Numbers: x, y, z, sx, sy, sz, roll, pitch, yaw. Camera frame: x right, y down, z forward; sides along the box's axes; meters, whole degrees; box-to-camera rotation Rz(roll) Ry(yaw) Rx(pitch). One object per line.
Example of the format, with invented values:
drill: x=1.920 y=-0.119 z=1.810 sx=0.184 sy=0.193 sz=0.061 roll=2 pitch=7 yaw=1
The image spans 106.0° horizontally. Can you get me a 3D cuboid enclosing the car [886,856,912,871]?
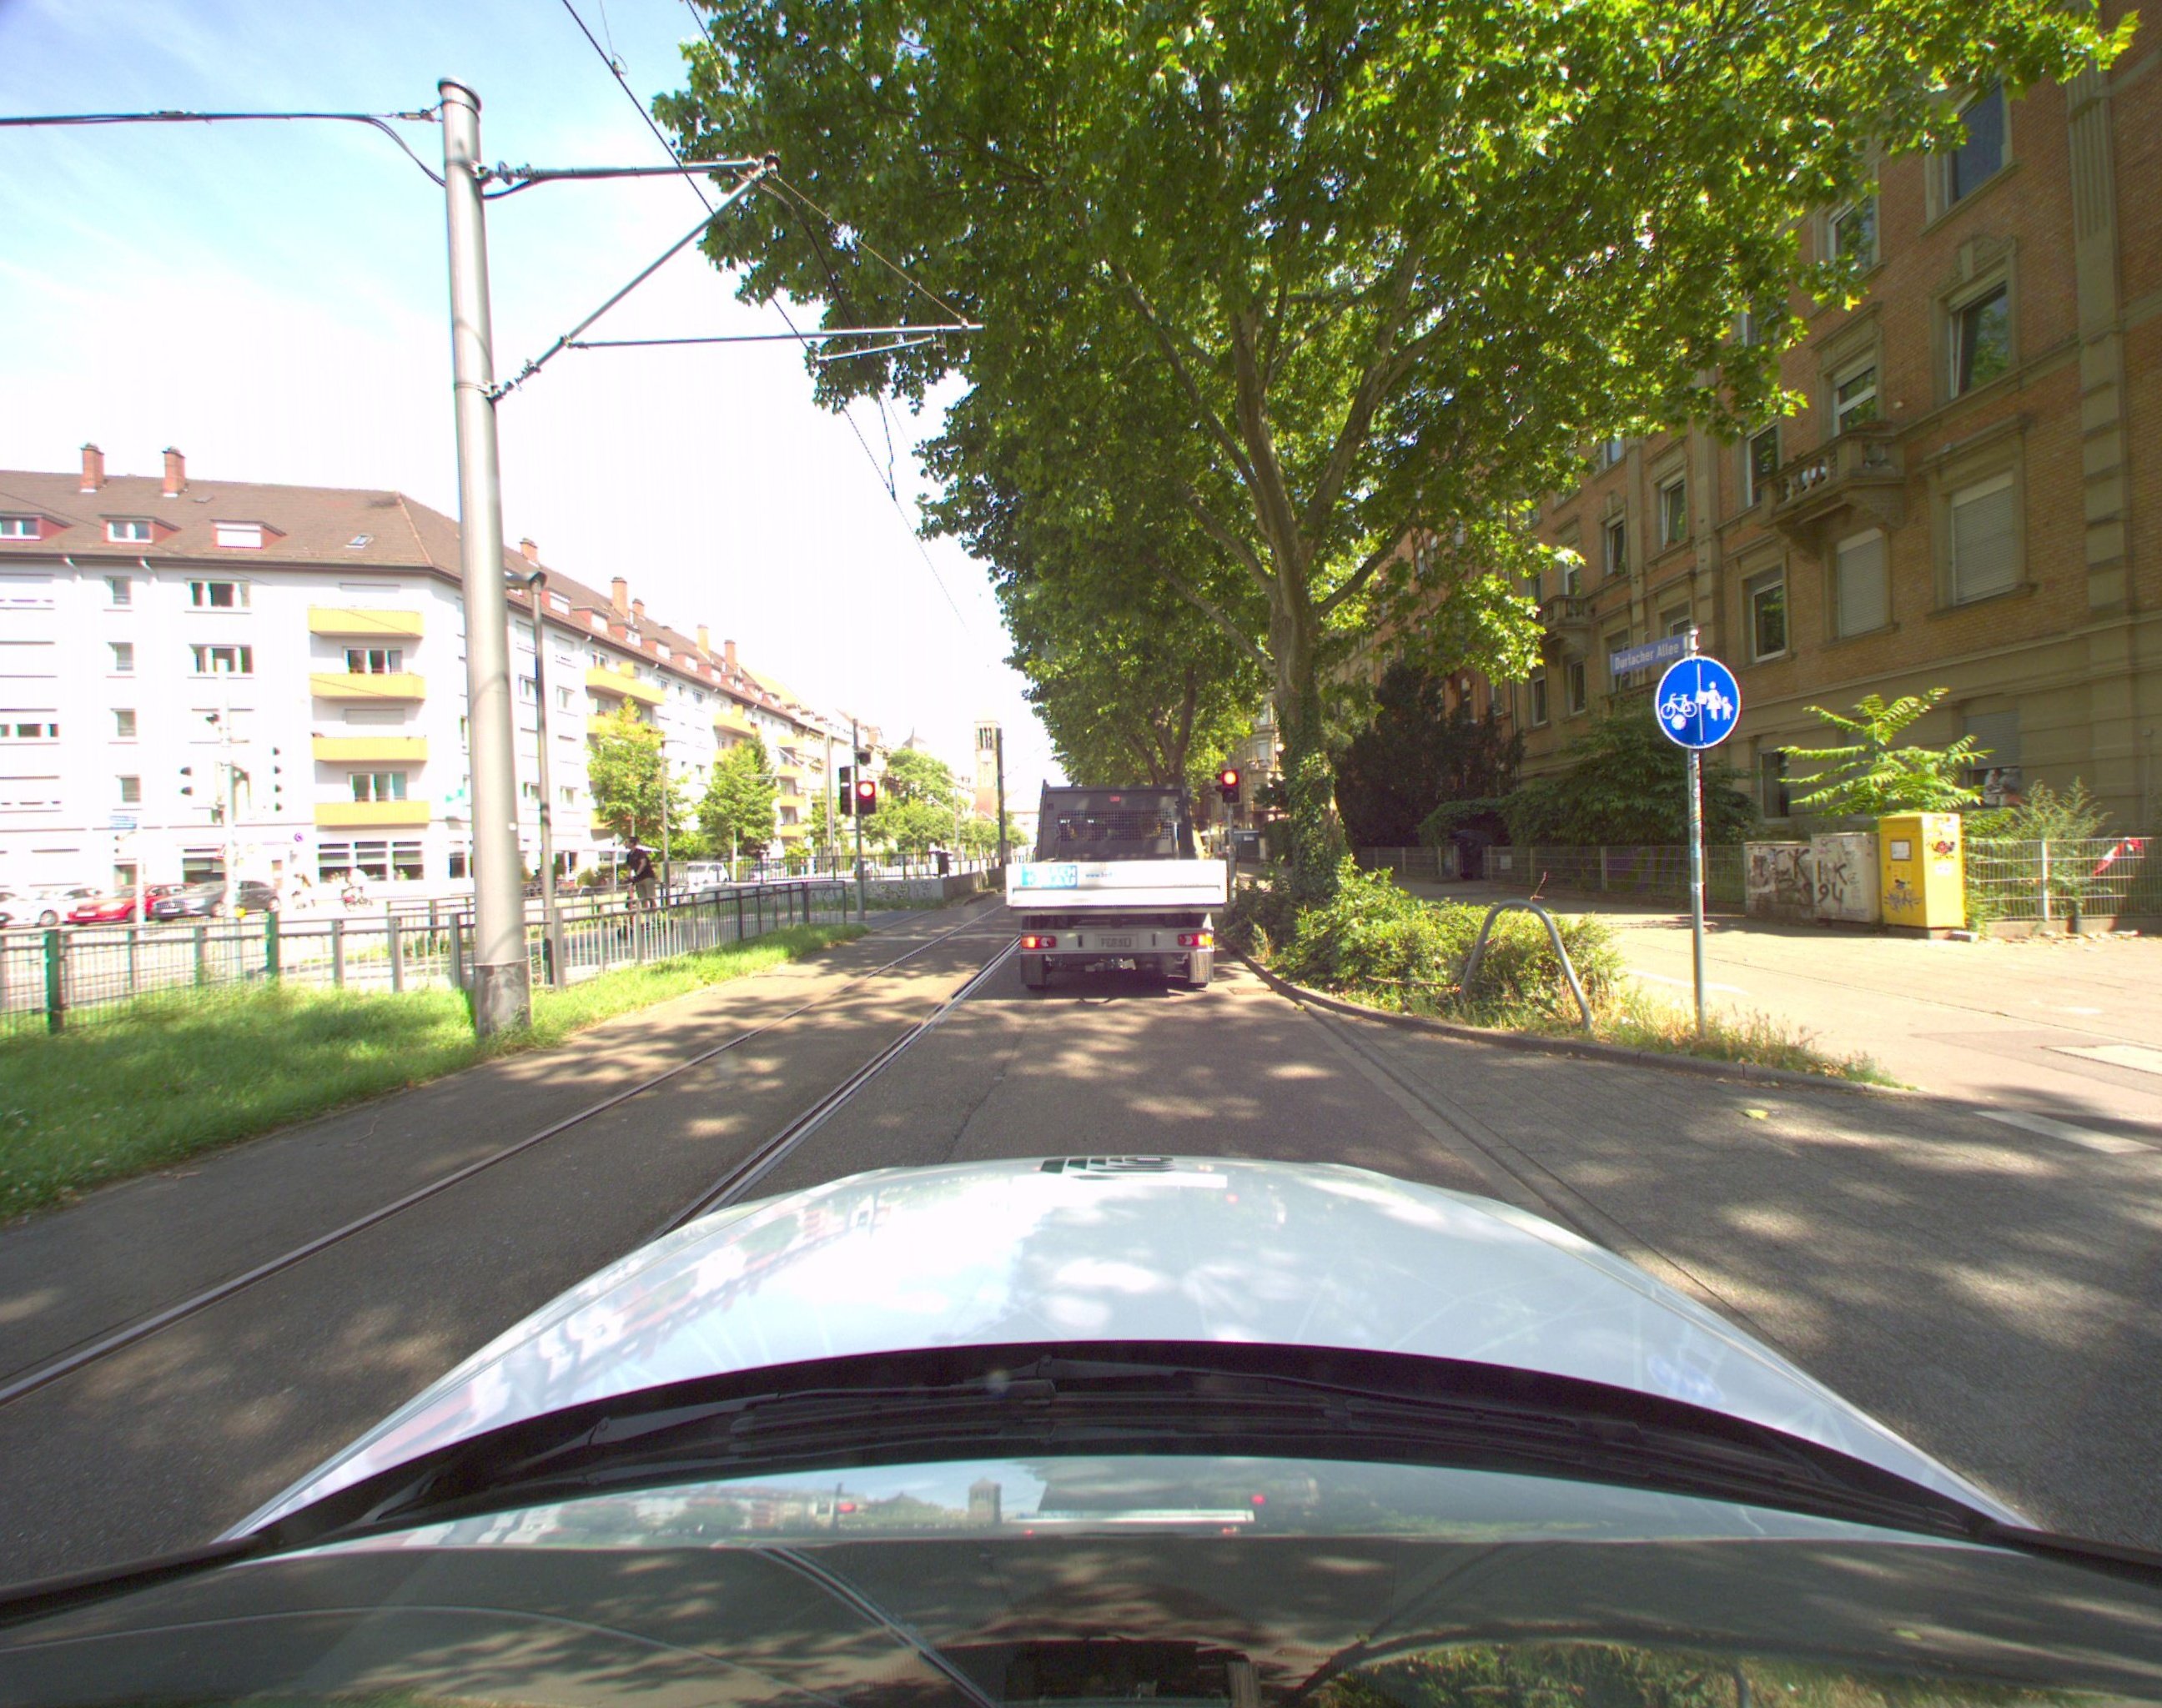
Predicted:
car: x=-19.466 y=0.973 z=87.139 sx=1.764 sy=1.498 sz=4.000 roll=-2 pitch=0 yaw=0

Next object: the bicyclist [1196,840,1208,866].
bicyclist: x=7.345 y=-0.076 z=49.392 sx=0.635 sy=1.573 sz=0.580 roll=-2 pitch=0 yaw=3

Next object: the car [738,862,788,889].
car: x=-20.303 y=1.348 z=52.129 sx=1.767 sy=1.498 sz=3.994 roll=-4 pitch=0 yaw=-4

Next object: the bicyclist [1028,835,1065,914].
bicyclist: x=-0.730 y=0.429 z=17.371 sx=0.690 sy=1.623 sz=0.625 roll=-2 pitch=0 yaw=0

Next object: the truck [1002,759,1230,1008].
truck: x=0.429 y=0.264 z=9.810 sx=2.130 sy=2.319 sz=4.404 roll=0 pitch=0 yaw=3

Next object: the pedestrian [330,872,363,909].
pedestrian: x=-32.266 y=1.609 z=35.795 sx=0.861 sy=1.572 sz=0.685 roll=-2 pitch=0 yaw=-22

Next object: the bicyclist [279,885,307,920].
bicyclist: x=-33.917 y=2.080 z=35.070 sx=0.624 sy=1.423 sz=0.587 roll=-2 pitch=0 yaw=-15

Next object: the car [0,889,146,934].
car: x=-39.279 y=2.179 z=31.360 sx=1.930 sy=1.406 sz=4.158 roll=-2 pitch=0 yaw=-6

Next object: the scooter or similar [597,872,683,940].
scooter or similar: x=-8.577 y=0.982 z=15.862 sx=0.649 sy=1.204 sz=1.279 roll=-2 pitch=0 yaw=38

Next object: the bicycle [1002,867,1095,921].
bicycle: x=-0.674 y=0.849 z=17.368 sx=1.913 sy=1.049 sz=0.533 roll=-2 pitch=0 yaw=0

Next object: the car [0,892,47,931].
car: x=-41.833 y=2.256 z=30.155 sx=1.930 sy=1.406 sz=4.158 roll=-2 pitch=0 yaw=-6

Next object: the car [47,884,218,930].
car: x=-36.495 y=1.996 z=31.529 sx=1.930 sy=1.406 sz=4.158 roll=-2 pitch=0 yaw=-6

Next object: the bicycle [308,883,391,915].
bicycle: x=-30.074 y=1.823 z=33.570 sx=0.908 sy=1.137 sz=2.807 roll=-2 pitch=0 yaw=-2

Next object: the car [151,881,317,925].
car: x=-33.137 y=1.870 z=32.104 sx=1.830 sy=1.376 sz=4.637 roll=-2 pitch=0 yaw=-4

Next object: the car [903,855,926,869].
car: x=-19.390 y=0.934 z=94.979 sx=1.764 sy=1.498 sz=4.000 roll=-2 pitch=0 yaw=0

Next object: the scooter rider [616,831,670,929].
scooter rider: x=-8.551 y=0.497 z=15.902 sx=0.655 sy=1.867 sz=0.673 roll=-2 pitch=0 yaw=38

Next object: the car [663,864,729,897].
car: x=-20.515 y=1.393 z=43.548 sx=1.767 sy=1.498 sz=3.994 roll=-4 pitch=0 yaw=-4

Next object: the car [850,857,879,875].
car: x=-19.606 y=1.040 z=73.768 sx=1.767 sy=1.498 sz=3.994 roll=-2 pitch=0 yaw=-4

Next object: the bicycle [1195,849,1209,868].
bicycle: x=7.346 y=0.276 z=49.374 sx=0.563 sy=1.112 sz=2.312 roll=-2 pitch=0 yaw=3

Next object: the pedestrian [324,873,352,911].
pedestrian: x=-32.106 y=1.621 z=35.186 sx=0.690 sy=1.572 sz=0.542 roll=-2 pitch=0 yaw=-22

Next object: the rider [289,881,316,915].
rider: x=-34.065 y=1.903 z=35.648 sx=0.624 sy=1.423 sz=0.587 roll=-2 pitch=0 yaw=-15
